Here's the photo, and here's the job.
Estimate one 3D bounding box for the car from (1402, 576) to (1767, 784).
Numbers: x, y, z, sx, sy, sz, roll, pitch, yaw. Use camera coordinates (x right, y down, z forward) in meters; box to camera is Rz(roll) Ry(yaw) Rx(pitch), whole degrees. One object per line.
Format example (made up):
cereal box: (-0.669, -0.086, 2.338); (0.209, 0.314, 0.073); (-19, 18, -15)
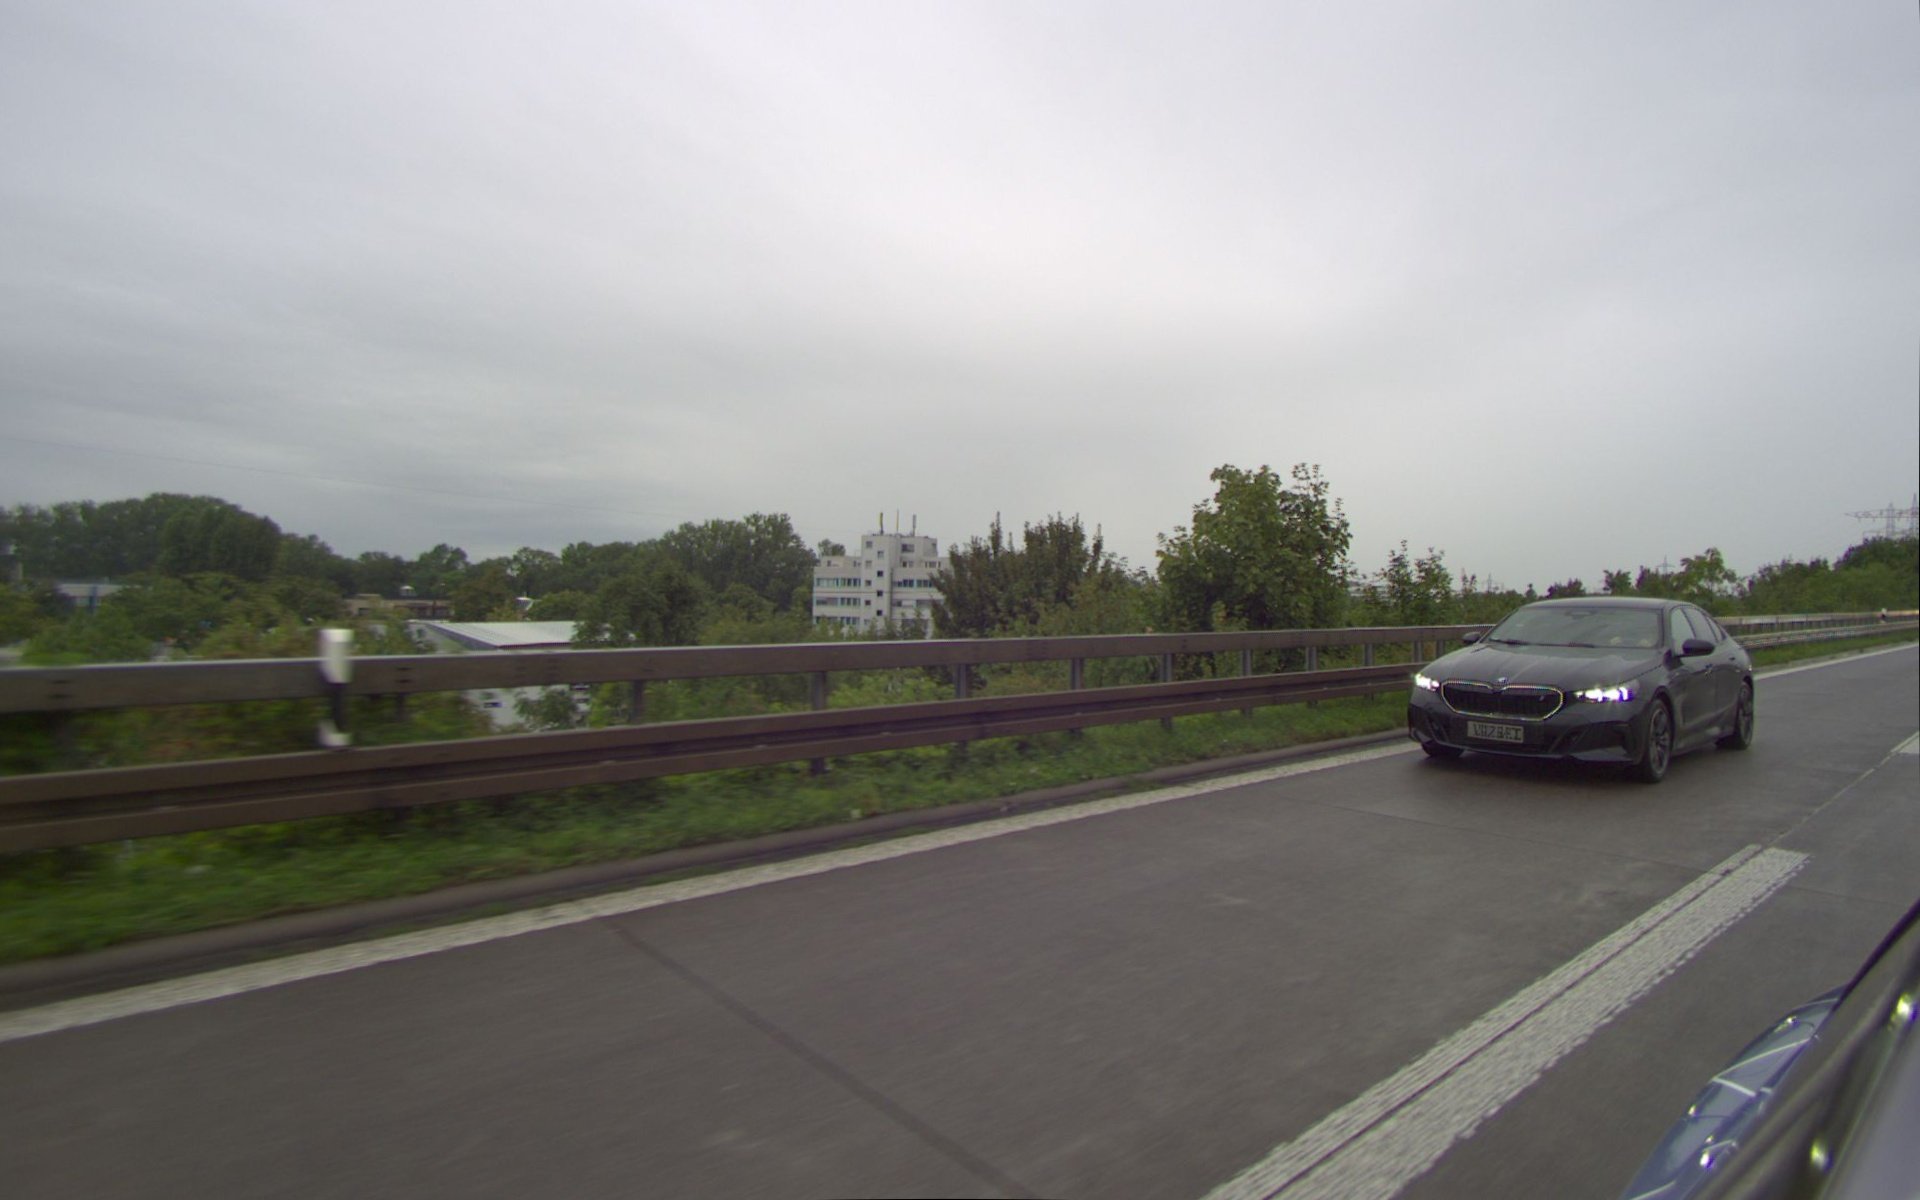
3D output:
car: (6.086, 0.608, 9.664); (4.130, 1.560, 1.860); (1, 0, -41)
